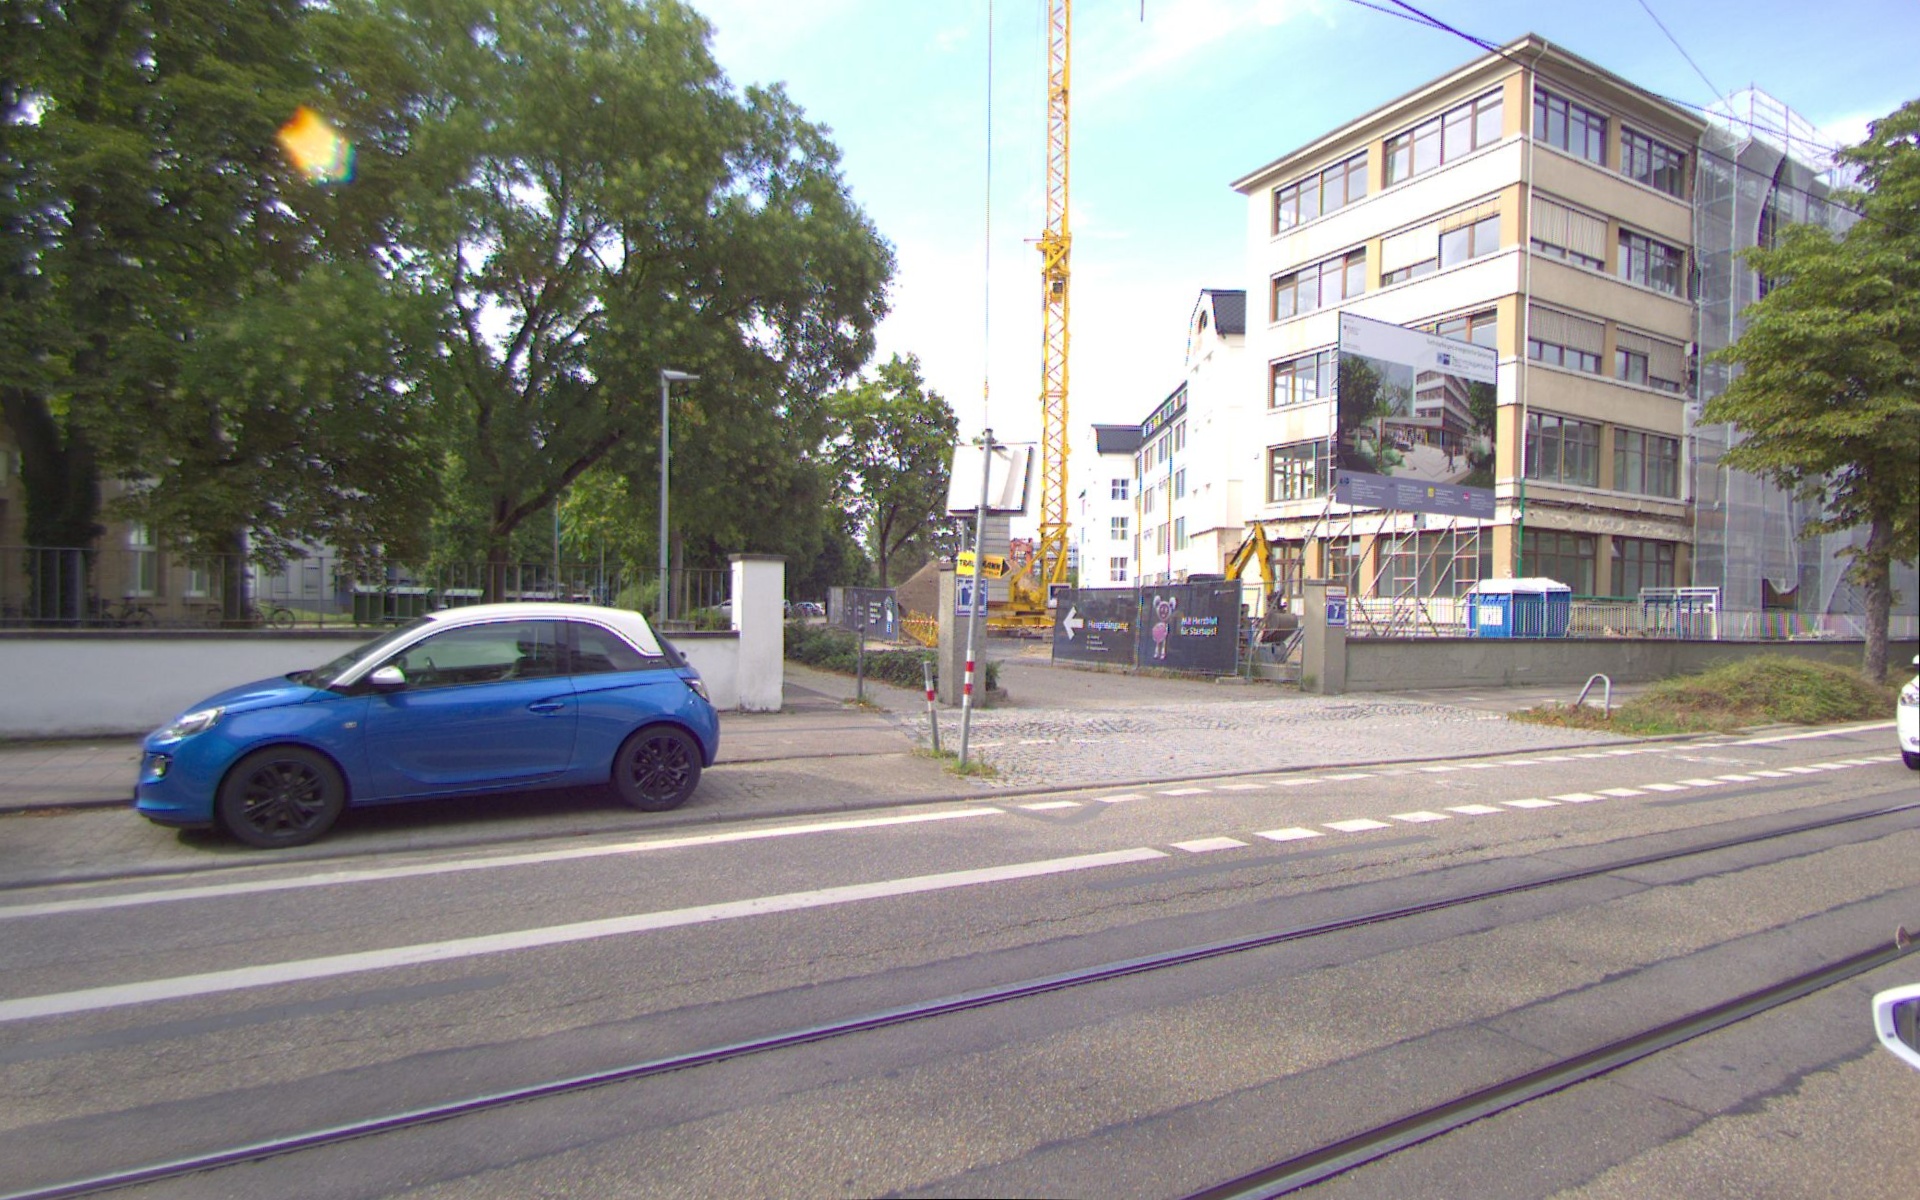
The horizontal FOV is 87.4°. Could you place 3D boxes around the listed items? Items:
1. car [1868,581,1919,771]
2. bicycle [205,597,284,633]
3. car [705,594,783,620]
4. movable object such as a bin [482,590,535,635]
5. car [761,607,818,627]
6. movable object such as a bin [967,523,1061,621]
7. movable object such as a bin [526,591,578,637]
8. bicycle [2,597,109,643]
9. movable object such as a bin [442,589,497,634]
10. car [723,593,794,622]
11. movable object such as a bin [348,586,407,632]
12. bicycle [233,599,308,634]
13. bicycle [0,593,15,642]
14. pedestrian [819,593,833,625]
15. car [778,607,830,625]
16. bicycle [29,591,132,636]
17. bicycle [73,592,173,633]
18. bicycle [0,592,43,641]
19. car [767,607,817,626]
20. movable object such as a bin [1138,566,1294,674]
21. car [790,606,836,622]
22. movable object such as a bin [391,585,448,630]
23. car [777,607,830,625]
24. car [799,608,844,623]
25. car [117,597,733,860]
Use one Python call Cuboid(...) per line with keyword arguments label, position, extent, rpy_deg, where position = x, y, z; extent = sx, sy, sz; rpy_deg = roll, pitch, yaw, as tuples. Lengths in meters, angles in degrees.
Cuboid(label="car", position=(11.735, 0.801, 10.689), extent=(4.324, 1.909, 1.725), rpy_deg=(1, 0, -28))
Cuboid(label="bicycle", position=(-22.081, 0.469, 31.001), extent=(1.940, 1.057, 0.594), rpy_deg=(1, 1, -4))
Cuboid(label="car", position=(-13.826, 0.454, 64.603), extent=(4.719, 1.508, 1.998), rpy_deg=(2, 0, -8))
Cuboid(label="movable object such as a bin", position=(-15.101, 0.425, 33.637), extent=(1.259, 1.449, 1.122), rpy_deg=(2, 0, -2))
Cuboid(label="car", position=(-14.533, 1.444, 85.994), extent=(4.719, 1.508, 1.998), rpy_deg=(2, 0, -8))
Cuboid(label="movable object such as a bin", position=(4.258, -1.869, 75.039), extent=(3.781, 6.758, 10.988), rpy_deg=(2, 0, 20))
Cuboid(label="movable object such as a bin", position=(-13.583, 0.460, 33.472), extent=(1.259, 1.449, 1.122), rpy_deg=(2, 0, -2))
Cuboid(label="bicycle", position=(-21.860, 0.478, 24.303), extent=(1.940, 1.057, 0.594), rpy_deg=(1, 1, -4))
Cuboid(label="movable object such as a bin", position=(-16.439, 0.385, 33.710), extent=(1.259, 1.449, 1.122), rpy_deg=(2, 0, -2))
Cuboid(label="car", position=(-15.176, 0.573, 75.894), extent=(4.965, 1.979, 1.999), rpy_deg=(2, 0, -4))
Cuboid(label="movable object such as a bin", position=(-19.375, 0.295, 33.447), extent=(1.259, 1.449, 1.122), rpy_deg=(2, 0, -2))
Cuboid(label="bicycle", position=(-22.200, 0.519, 32.356), extent=(1.940, 1.057, 0.594), rpy_deg=(1, 1, -4))
Cuboid(label="bicycle", position=(-21.834, 0.352, 21.821), extent=(1.940, 1.057, 0.594), rpy_deg=(1, 1, -4))
Cuboid(label="pedestrian", position=(-7.783, 0.530, 58.223), extent=(0.736, 1.813, 0.730), rpy_deg=(2, 0, -7))
Cuboid(label="car", position=(-14.689, 1.521, 94.805), extent=(4.719, 1.508, 1.998), rpy_deg=(2, 0, -8))
Cuboid(label="bicycle", position=(-21.946, 0.331, 25.083), extent=(1.940, 1.057, 0.594), rpy_deg=(1, 1, -4))
Cuboid(label="bicycle", position=(-22.347, 0.330, 26.865), extent=(1.953, 1.057, 0.590), rpy_deg=(1, 1, -28))
Cuboid(label="bicycle", position=(-21.917, 0.354, 22.601), extent=(1.940, 1.057, 0.594), rpy_deg=(1, 1, -4))
Cuboid(label="car", position=(-14.778, 1.474, 88.658), extent=(4.268, 1.564, 1.751), rpy_deg=(2, 0, -8))
Cuboid(label="movable object such as a bin", position=(6.281, 0.480, 24.991), extent=(2.459, 2.475, 3.048), rpy_deg=(2, 0, -19))
Cuboid(label="car", position=(-15.498, 1.476, 105.878), extent=(4.719, 1.508, 1.998), rpy_deg=(2, 0, -8))
Cuboid(label="movable object such as a bin", position=(-18.012, 0.246, 33.511), extent=(1.259, 1.449, 1.122), rpy_deg=(2, 0, -2))
Cuboid(label="car", position=(-14.305, 1.481, 91.980), extent=(4.719, 1.508, 1.998), rpy_deg=(2, 0, -8))
Cuboid(label="car", position=(-15.019, 1.647, 108.890), extent=(4.719, 1.508, 1.998), rpy_deg=(2, 0, -8))
Cuboid(label="car", position=(-3.638, 0.759, 7.309), extent=(3.560, 1.484, 1.620), rpy_deg=(1, 0, -30))
